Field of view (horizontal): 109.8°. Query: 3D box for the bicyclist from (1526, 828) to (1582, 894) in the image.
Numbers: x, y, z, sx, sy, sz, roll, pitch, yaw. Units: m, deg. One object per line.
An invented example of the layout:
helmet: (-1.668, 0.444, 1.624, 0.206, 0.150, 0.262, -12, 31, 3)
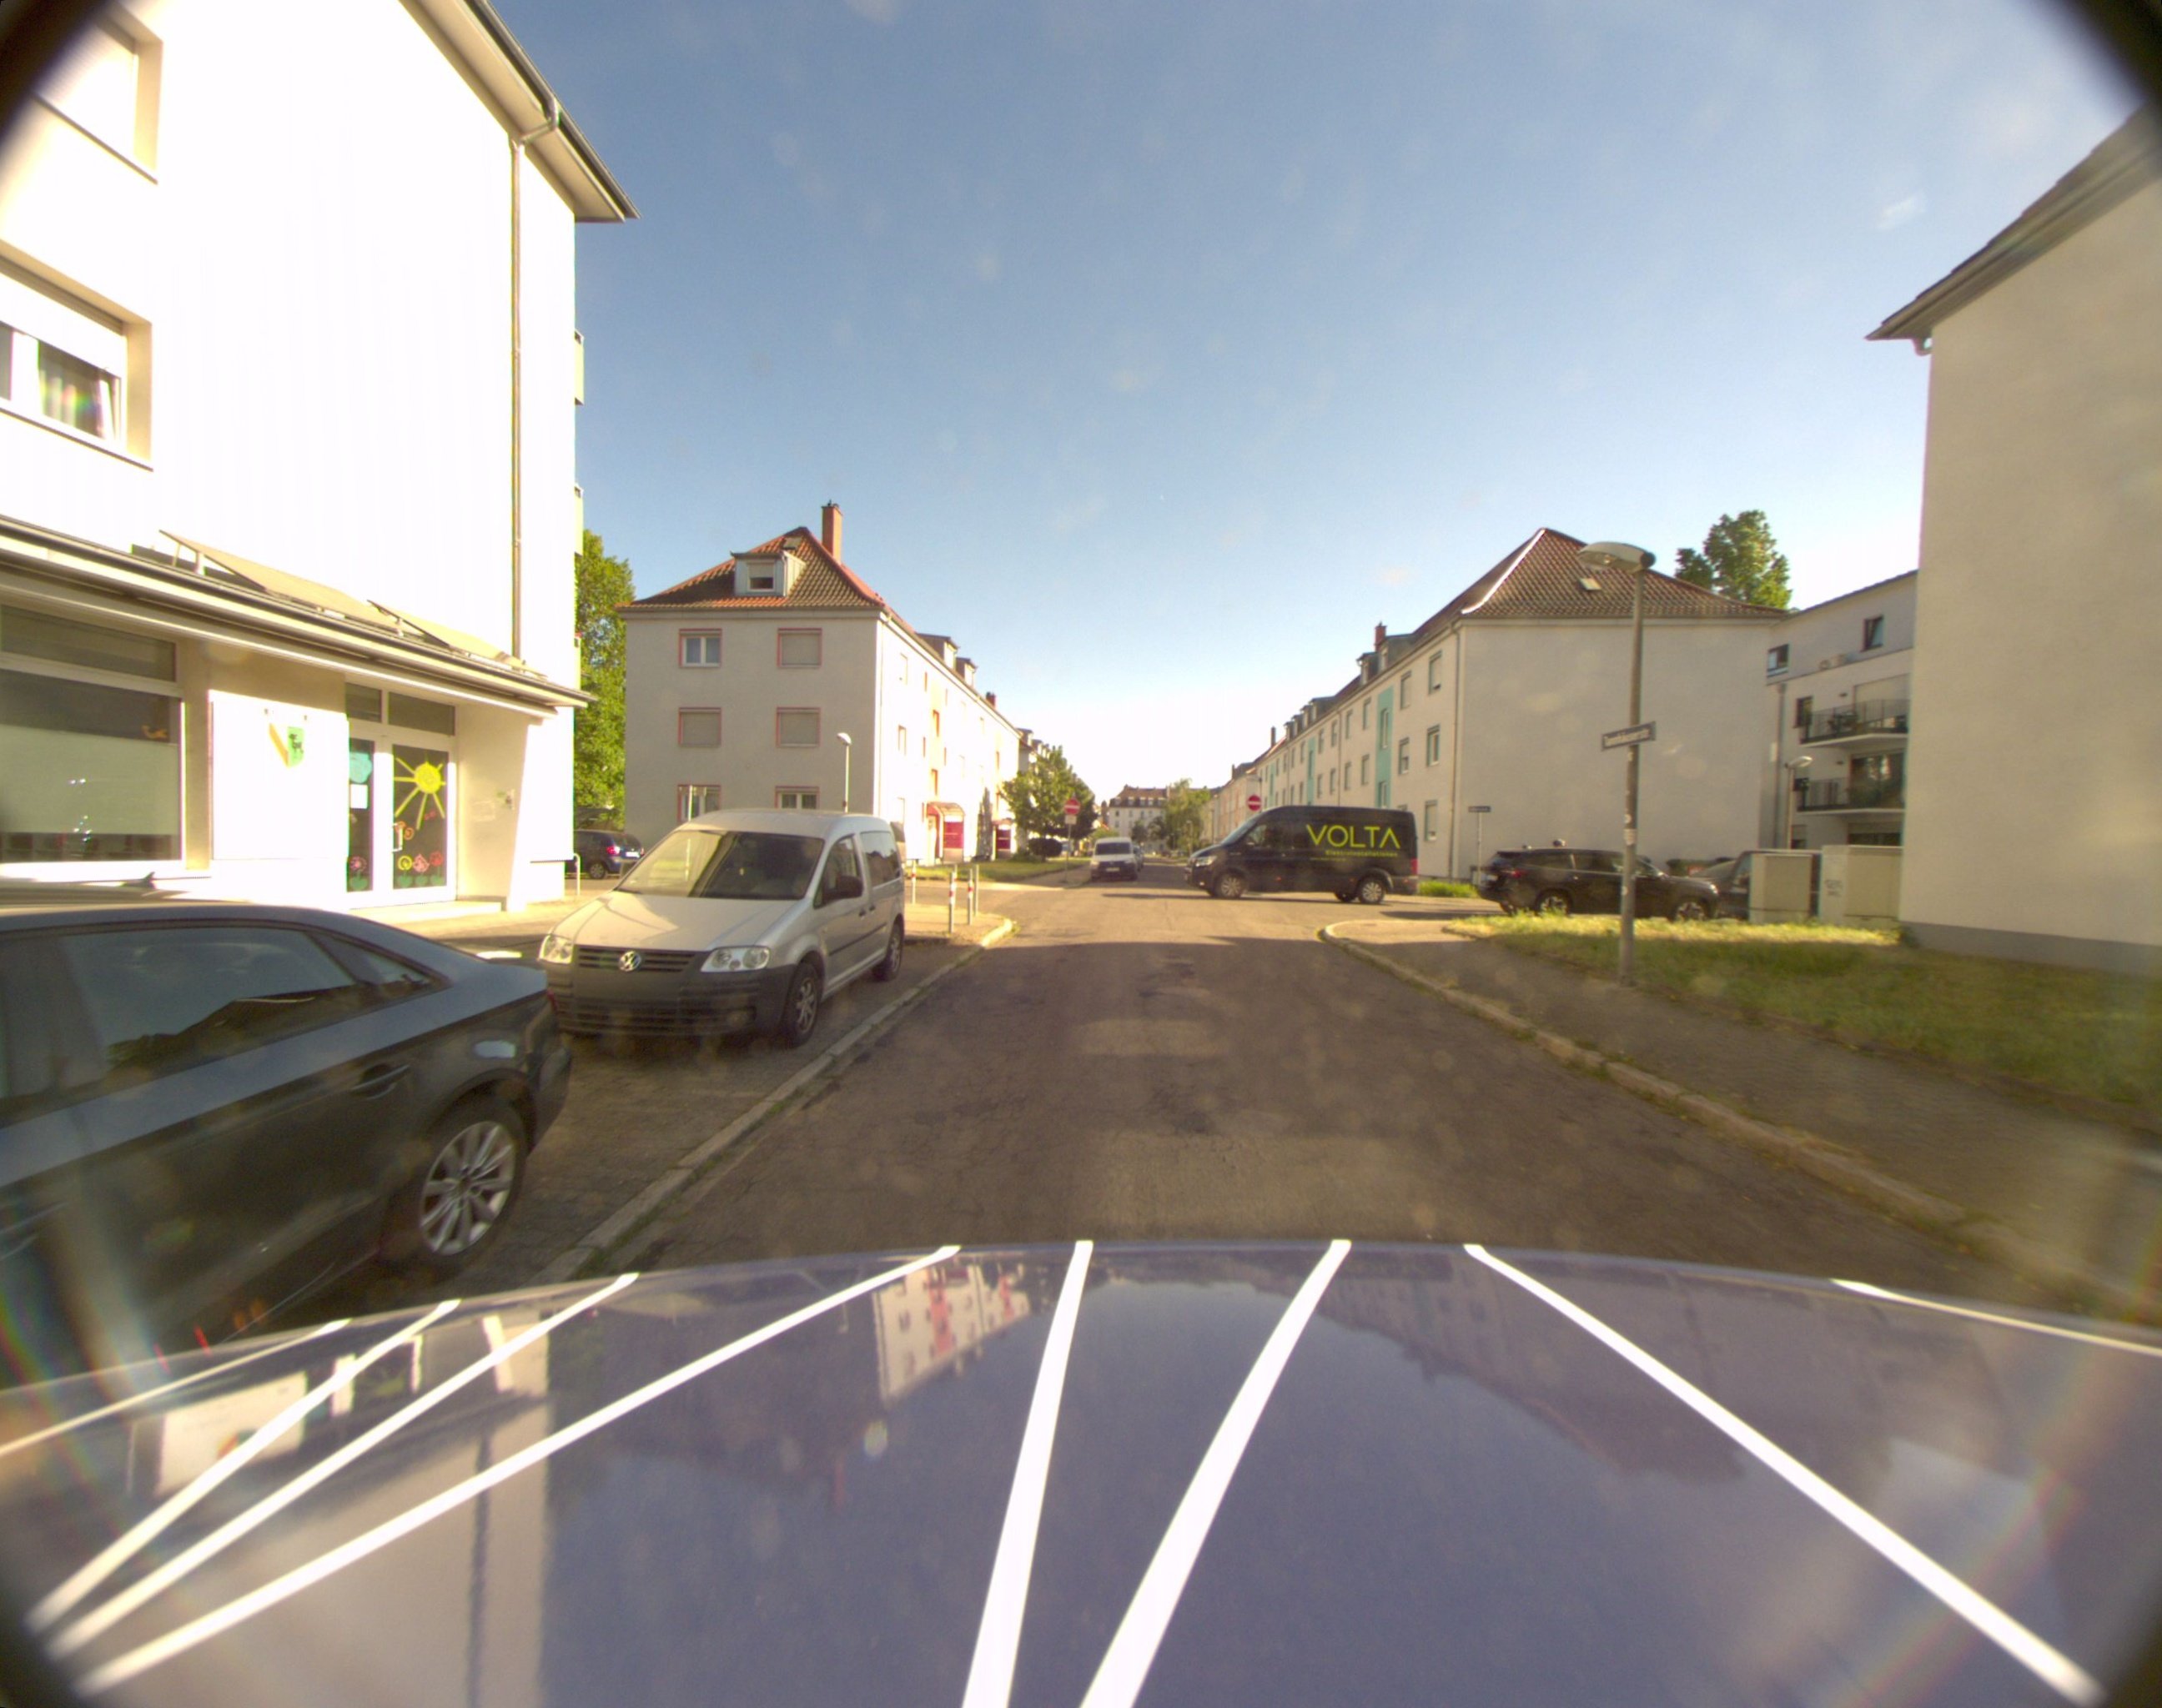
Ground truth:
bicyclist: (11.539, 0.162, 18.561, 0.906, 1.570, 0.597, 2, 3, -2)

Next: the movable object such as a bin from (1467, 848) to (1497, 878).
movable object such as a bin: (13.302, 0.292, 25.226, 0.614, 0.986, 0.715, 1, 1, 4)

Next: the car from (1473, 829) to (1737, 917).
car: (11.504, 0.371, 16.964, 4.497, 1.655, 1.719, 2, 3, 5)

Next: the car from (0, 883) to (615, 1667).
car: (-2.957, 0.901, 1.264, 1.682, 1.399, 4.543, 0, 2, -2)

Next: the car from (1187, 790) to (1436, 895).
car: (5.979, -0.310, 20.274, 5.956, 2.531, 1.999, 1, 2, 1)

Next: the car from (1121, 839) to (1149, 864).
car: (3.284, -0.164, 46.805, 1.632, 1.442, 3.952, 1, 0, 3)

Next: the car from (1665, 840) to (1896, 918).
car: (17.856, 0.598, 19.580, 3.995, 1.686, 1.866, 3, 2, 5)

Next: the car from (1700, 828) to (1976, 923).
car: (16.315, 0.404, 16.575, 3.999, 1.779, 1.719, 2, 3, 5)

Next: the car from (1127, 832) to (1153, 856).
car: (4.269, -0.741, 55.643, 1.779, 1.709, 4.307, -1, 1, 3)

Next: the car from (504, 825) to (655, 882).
car: (-14.957, -0.038, 22.760, 3.481, 1.521, 1.680, 2, 2, 4)

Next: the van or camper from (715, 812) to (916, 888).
van or camper: (-7.649, -0.108, 22.254, 5.136, 2.002, 2.000, 1, 0, 2)

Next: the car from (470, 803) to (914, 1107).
car: (-2.867, 0.572, 6.758, 1.751, 1.814, 4.130, 3, 2, 1)

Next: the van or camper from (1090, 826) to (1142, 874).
van or camper: (1.530, -0.204, 31.538, 1.796, 1.738, 4.735, -4, 1, 5)
